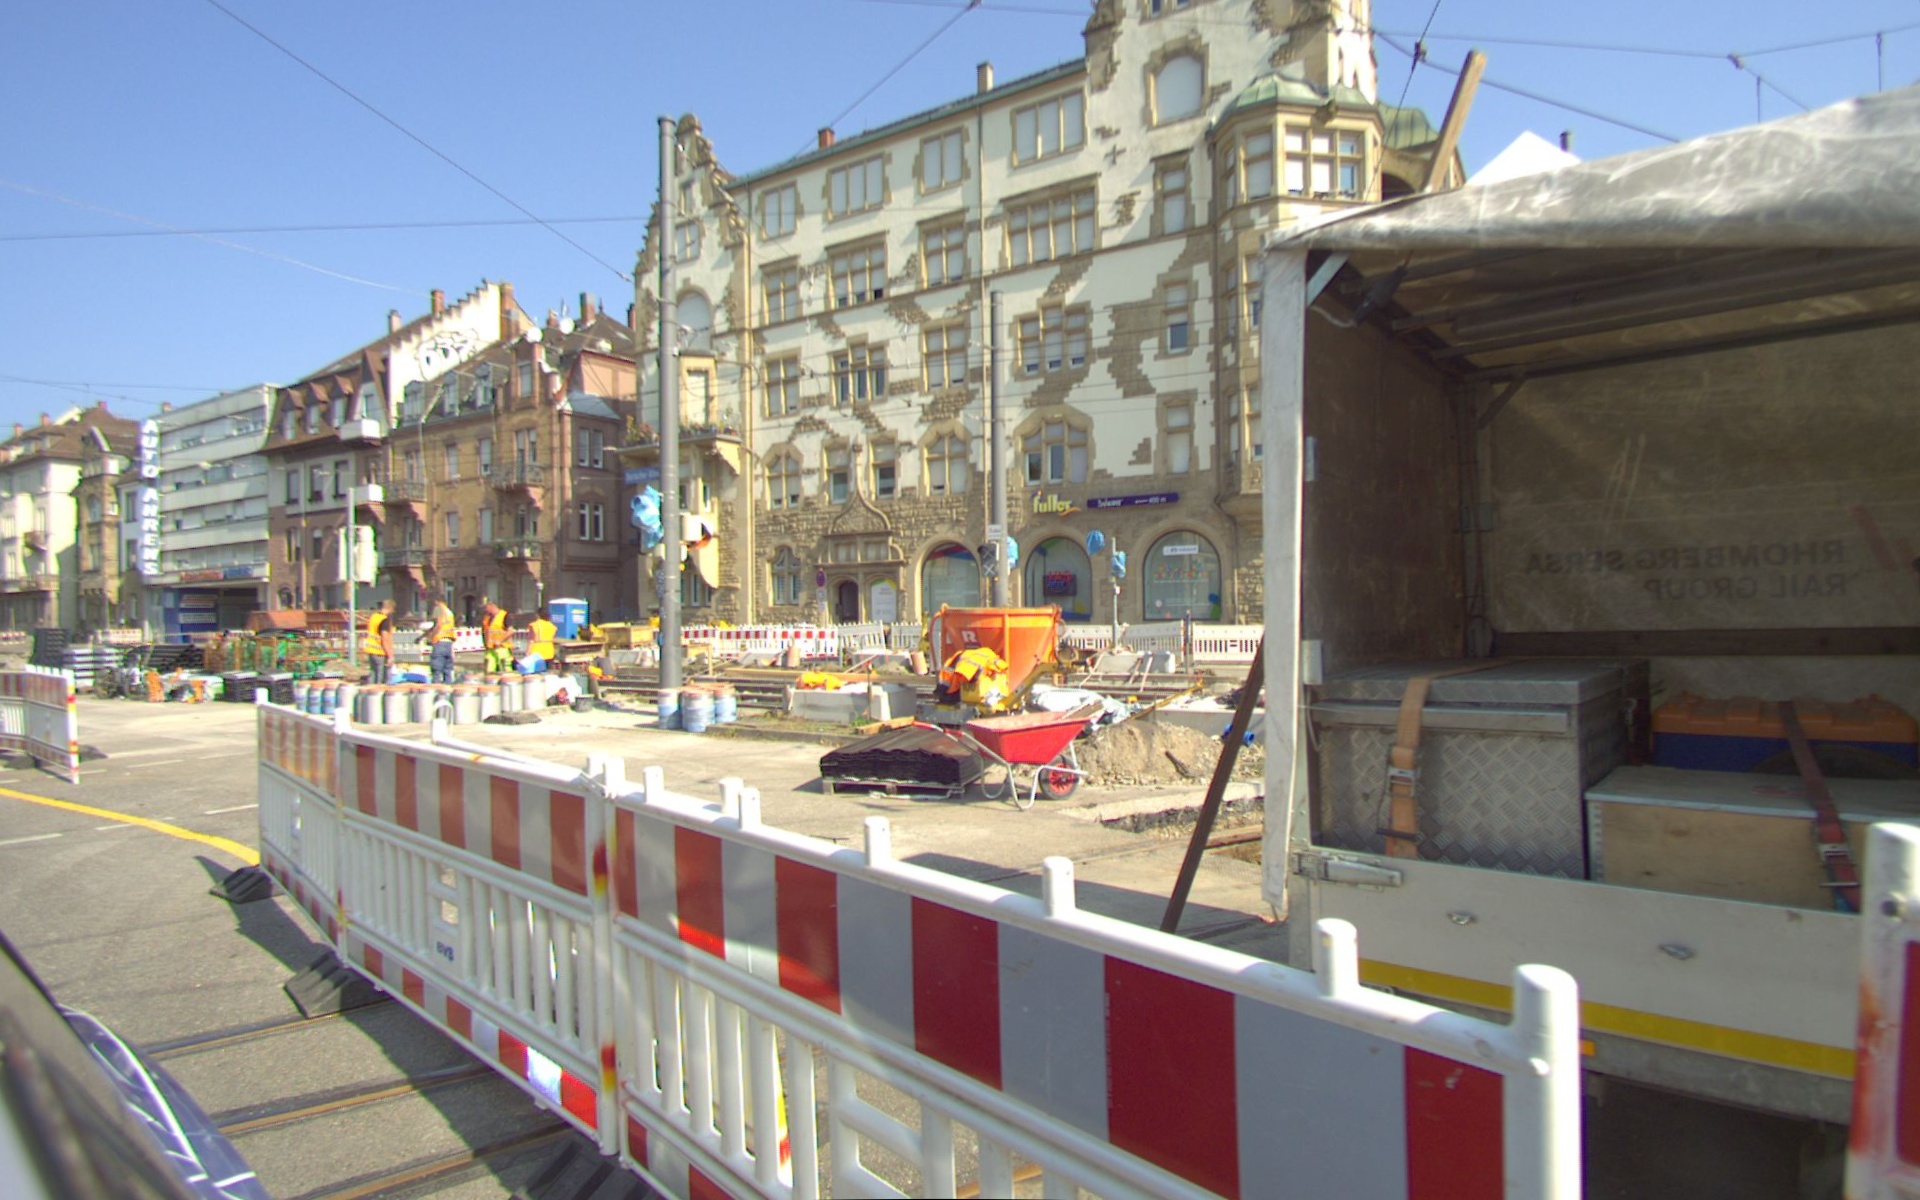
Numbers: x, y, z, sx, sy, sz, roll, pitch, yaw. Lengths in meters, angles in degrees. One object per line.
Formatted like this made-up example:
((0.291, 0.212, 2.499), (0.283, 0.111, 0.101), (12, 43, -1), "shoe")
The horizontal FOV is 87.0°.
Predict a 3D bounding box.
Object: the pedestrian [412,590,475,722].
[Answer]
((-8.156, 0.870, 15.995), (0.664, 2.030, 0.697), (0, -1, -4), "pedestrian")

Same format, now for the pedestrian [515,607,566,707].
((-7.850, 1.046, 18.957), (0.742, 1.823, 0.832), (0, -1, -12), "pedestrian")

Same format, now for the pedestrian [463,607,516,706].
((-8.967, 1.059, 19.288), (0.816, 1.830, 0.887), (0, -2, -32), "pedestrian")

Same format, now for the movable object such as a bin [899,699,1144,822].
((0.464, 1.167, 7.631), (1.693, 0.719, 0.720), (0, -1, -24), "movable object such as a bin")

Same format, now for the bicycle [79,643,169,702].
((-16.923, 1.442, 20.483), (1.955, 1.107, 0.560), (-1, 1, 24), "bicycle")

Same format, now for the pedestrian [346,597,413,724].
((-9.098, 0.938, 15.885), (0.675, 1.941, 0.715), (0, -1, -4), "pedestrian")

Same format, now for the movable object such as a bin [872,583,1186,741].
((0.759, 0.659, 11.715), (3.278, 1.570, 1.586), (-1, -1, 35), "movable object such as a bin")

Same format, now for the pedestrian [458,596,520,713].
((-7.815, 0.882, 16.790), (0.708, 1.885, 0.711), (-2, -2, 41), "pedestrian")

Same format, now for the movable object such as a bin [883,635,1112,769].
((0.354, 0.976, 10.369), (2.207, 1.220, 0.879), (-1, -1, 35), "movable object such as a bin")
